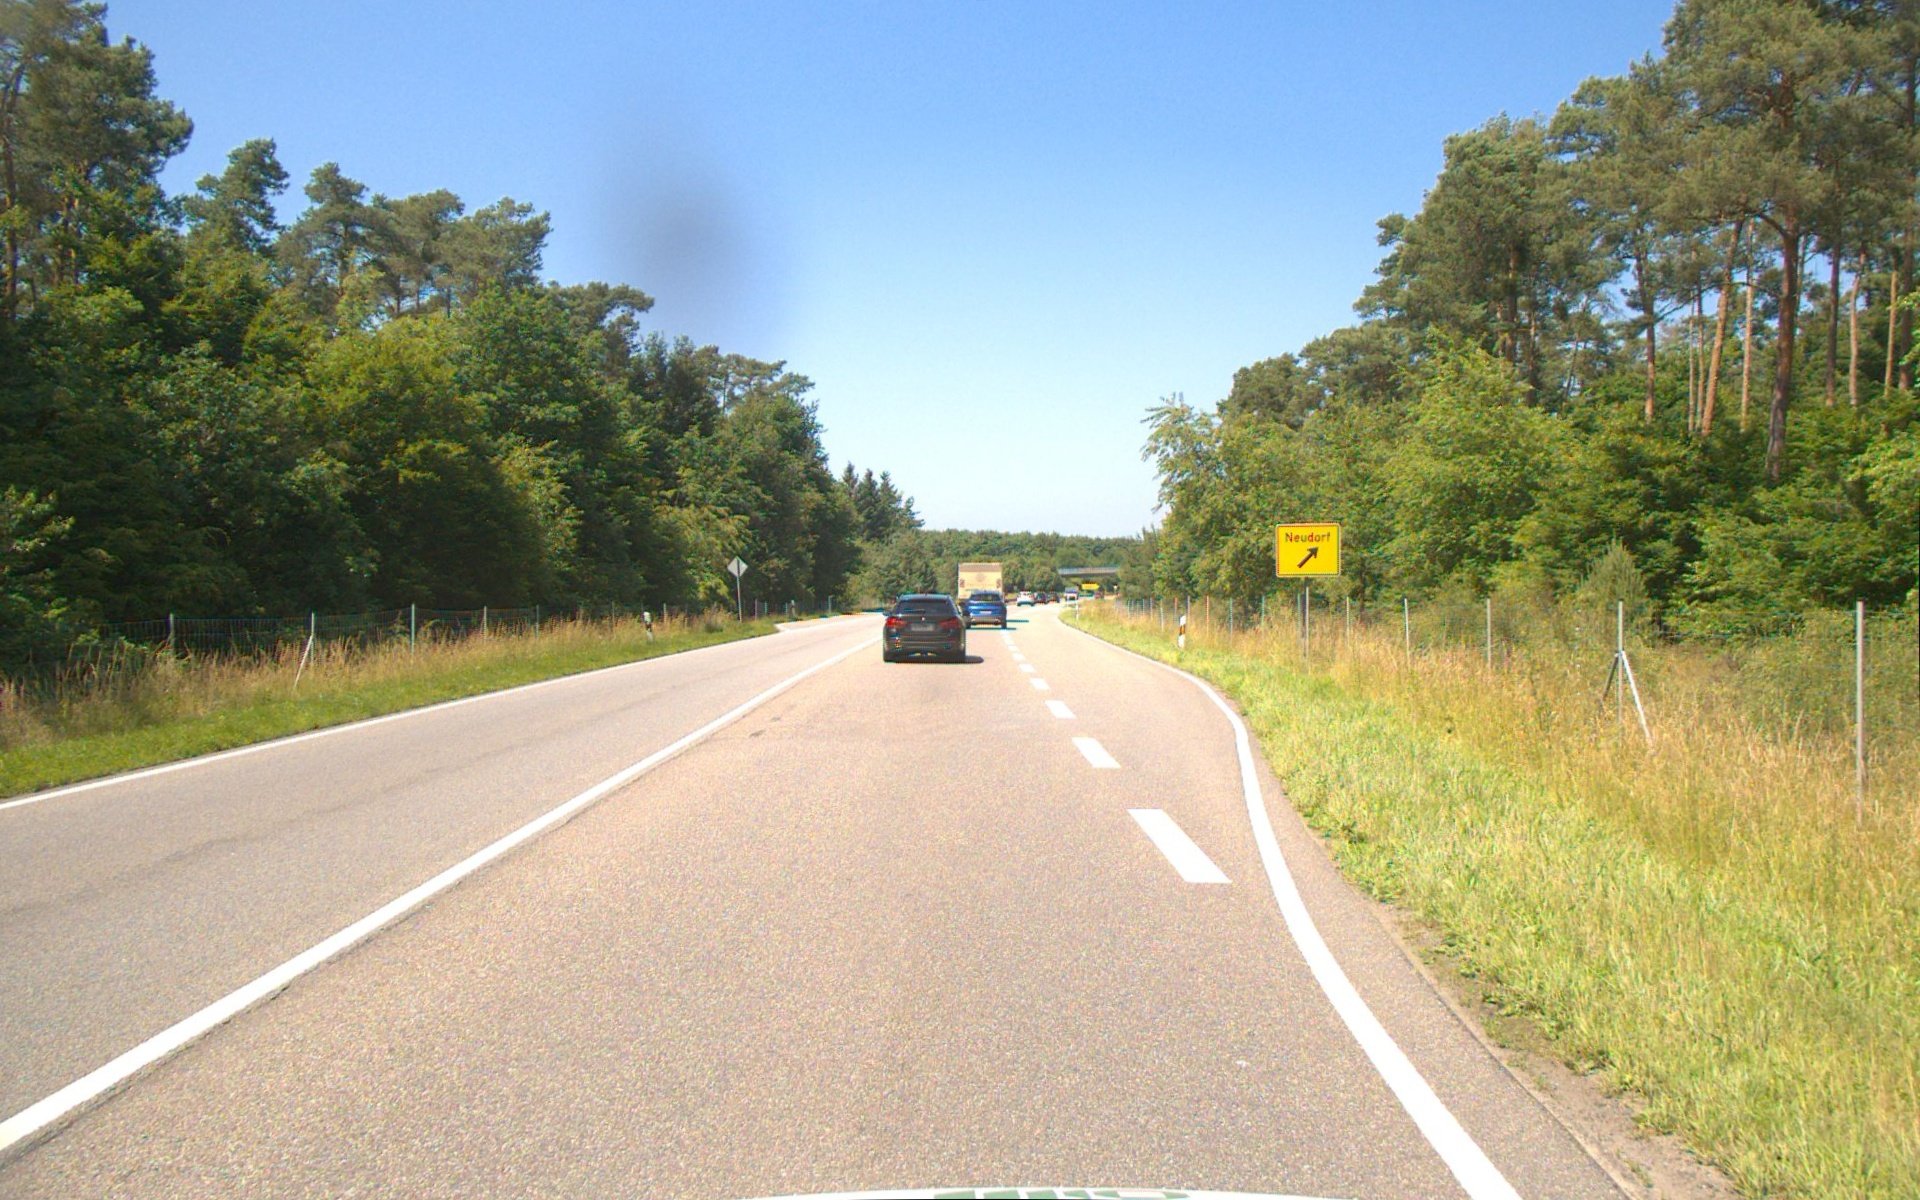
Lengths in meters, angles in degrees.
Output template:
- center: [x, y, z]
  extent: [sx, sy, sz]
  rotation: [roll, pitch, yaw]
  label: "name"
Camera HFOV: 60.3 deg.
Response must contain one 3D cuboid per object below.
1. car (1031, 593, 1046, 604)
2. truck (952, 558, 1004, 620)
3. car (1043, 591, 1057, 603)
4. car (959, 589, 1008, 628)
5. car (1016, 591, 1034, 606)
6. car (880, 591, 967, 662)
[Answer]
- center: [10.526, -0.183, 220.852]
  extent: [1.952, 1.445, 4.002]
  rotation: [1, 0, 3]
  label: "car"
- center: [1.023, -0.622, 95.564]
  extent: [2.905, 3.447, 6.438]
  rotation: [0, 0, 0]
  label: "truck"
- center: [13.408, -0.472, 246.808]
  extent: [1.951, 1.665, 4.002]
  rotation: [-1, 0, 4]
  label: "car"
- center: [0.969, 0.348, 71.363]
  extent: [1.908, 1.568, 3.999]
  rotation: [-1, 0, -2]
  label: "car"
- center: [7.518, -0.200, 191.892]
  extent: [1.825, 1.633, 4.000]
  rotation: [-2, 0, 0]
  label: "car"
- center: [-0.877, 0.556, 37.448]
  extent: [1.784, 1.496, 3.997]
  rotation: [0, 0, -4]
  label: "car"
